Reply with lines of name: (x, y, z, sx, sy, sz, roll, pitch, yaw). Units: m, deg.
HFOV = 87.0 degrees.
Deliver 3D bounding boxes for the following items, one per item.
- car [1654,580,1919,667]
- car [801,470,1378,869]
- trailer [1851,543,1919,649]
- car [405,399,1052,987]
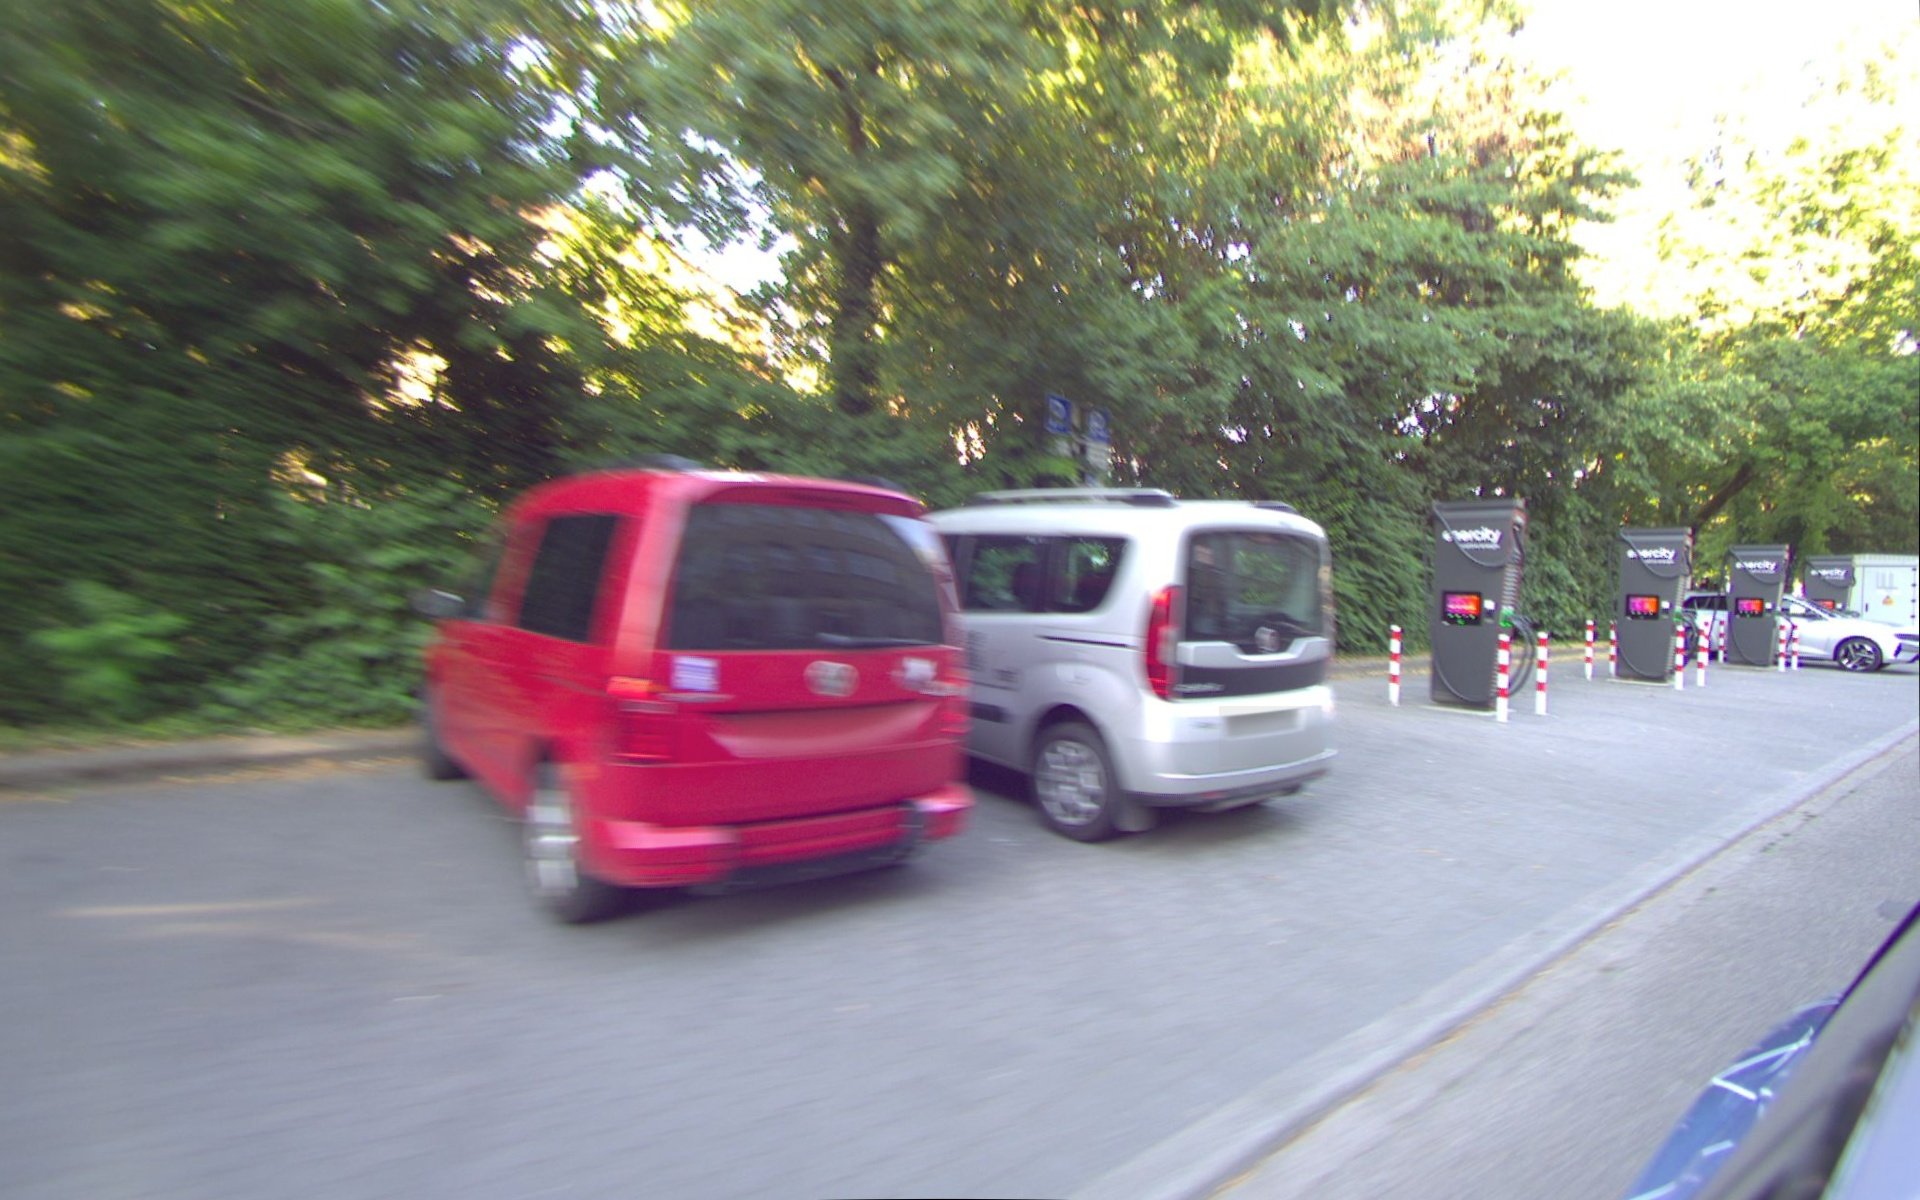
car: (17.120, 0.405, 20.765, 1.680, 1.484, 4.444, 0, 2, -38)
car: (0.605, 0.222, 6.794, 1.751, 1.906, 3.613, 0, 3, -38)
trailer: (25.273, -0.114, 26.984, 3.635, 2.673, 1.601, 0, 2, -39)
car: (-1.573, 0.181, 5.397, 1.884, 1.886, 3.985, 1, 3, -37)
